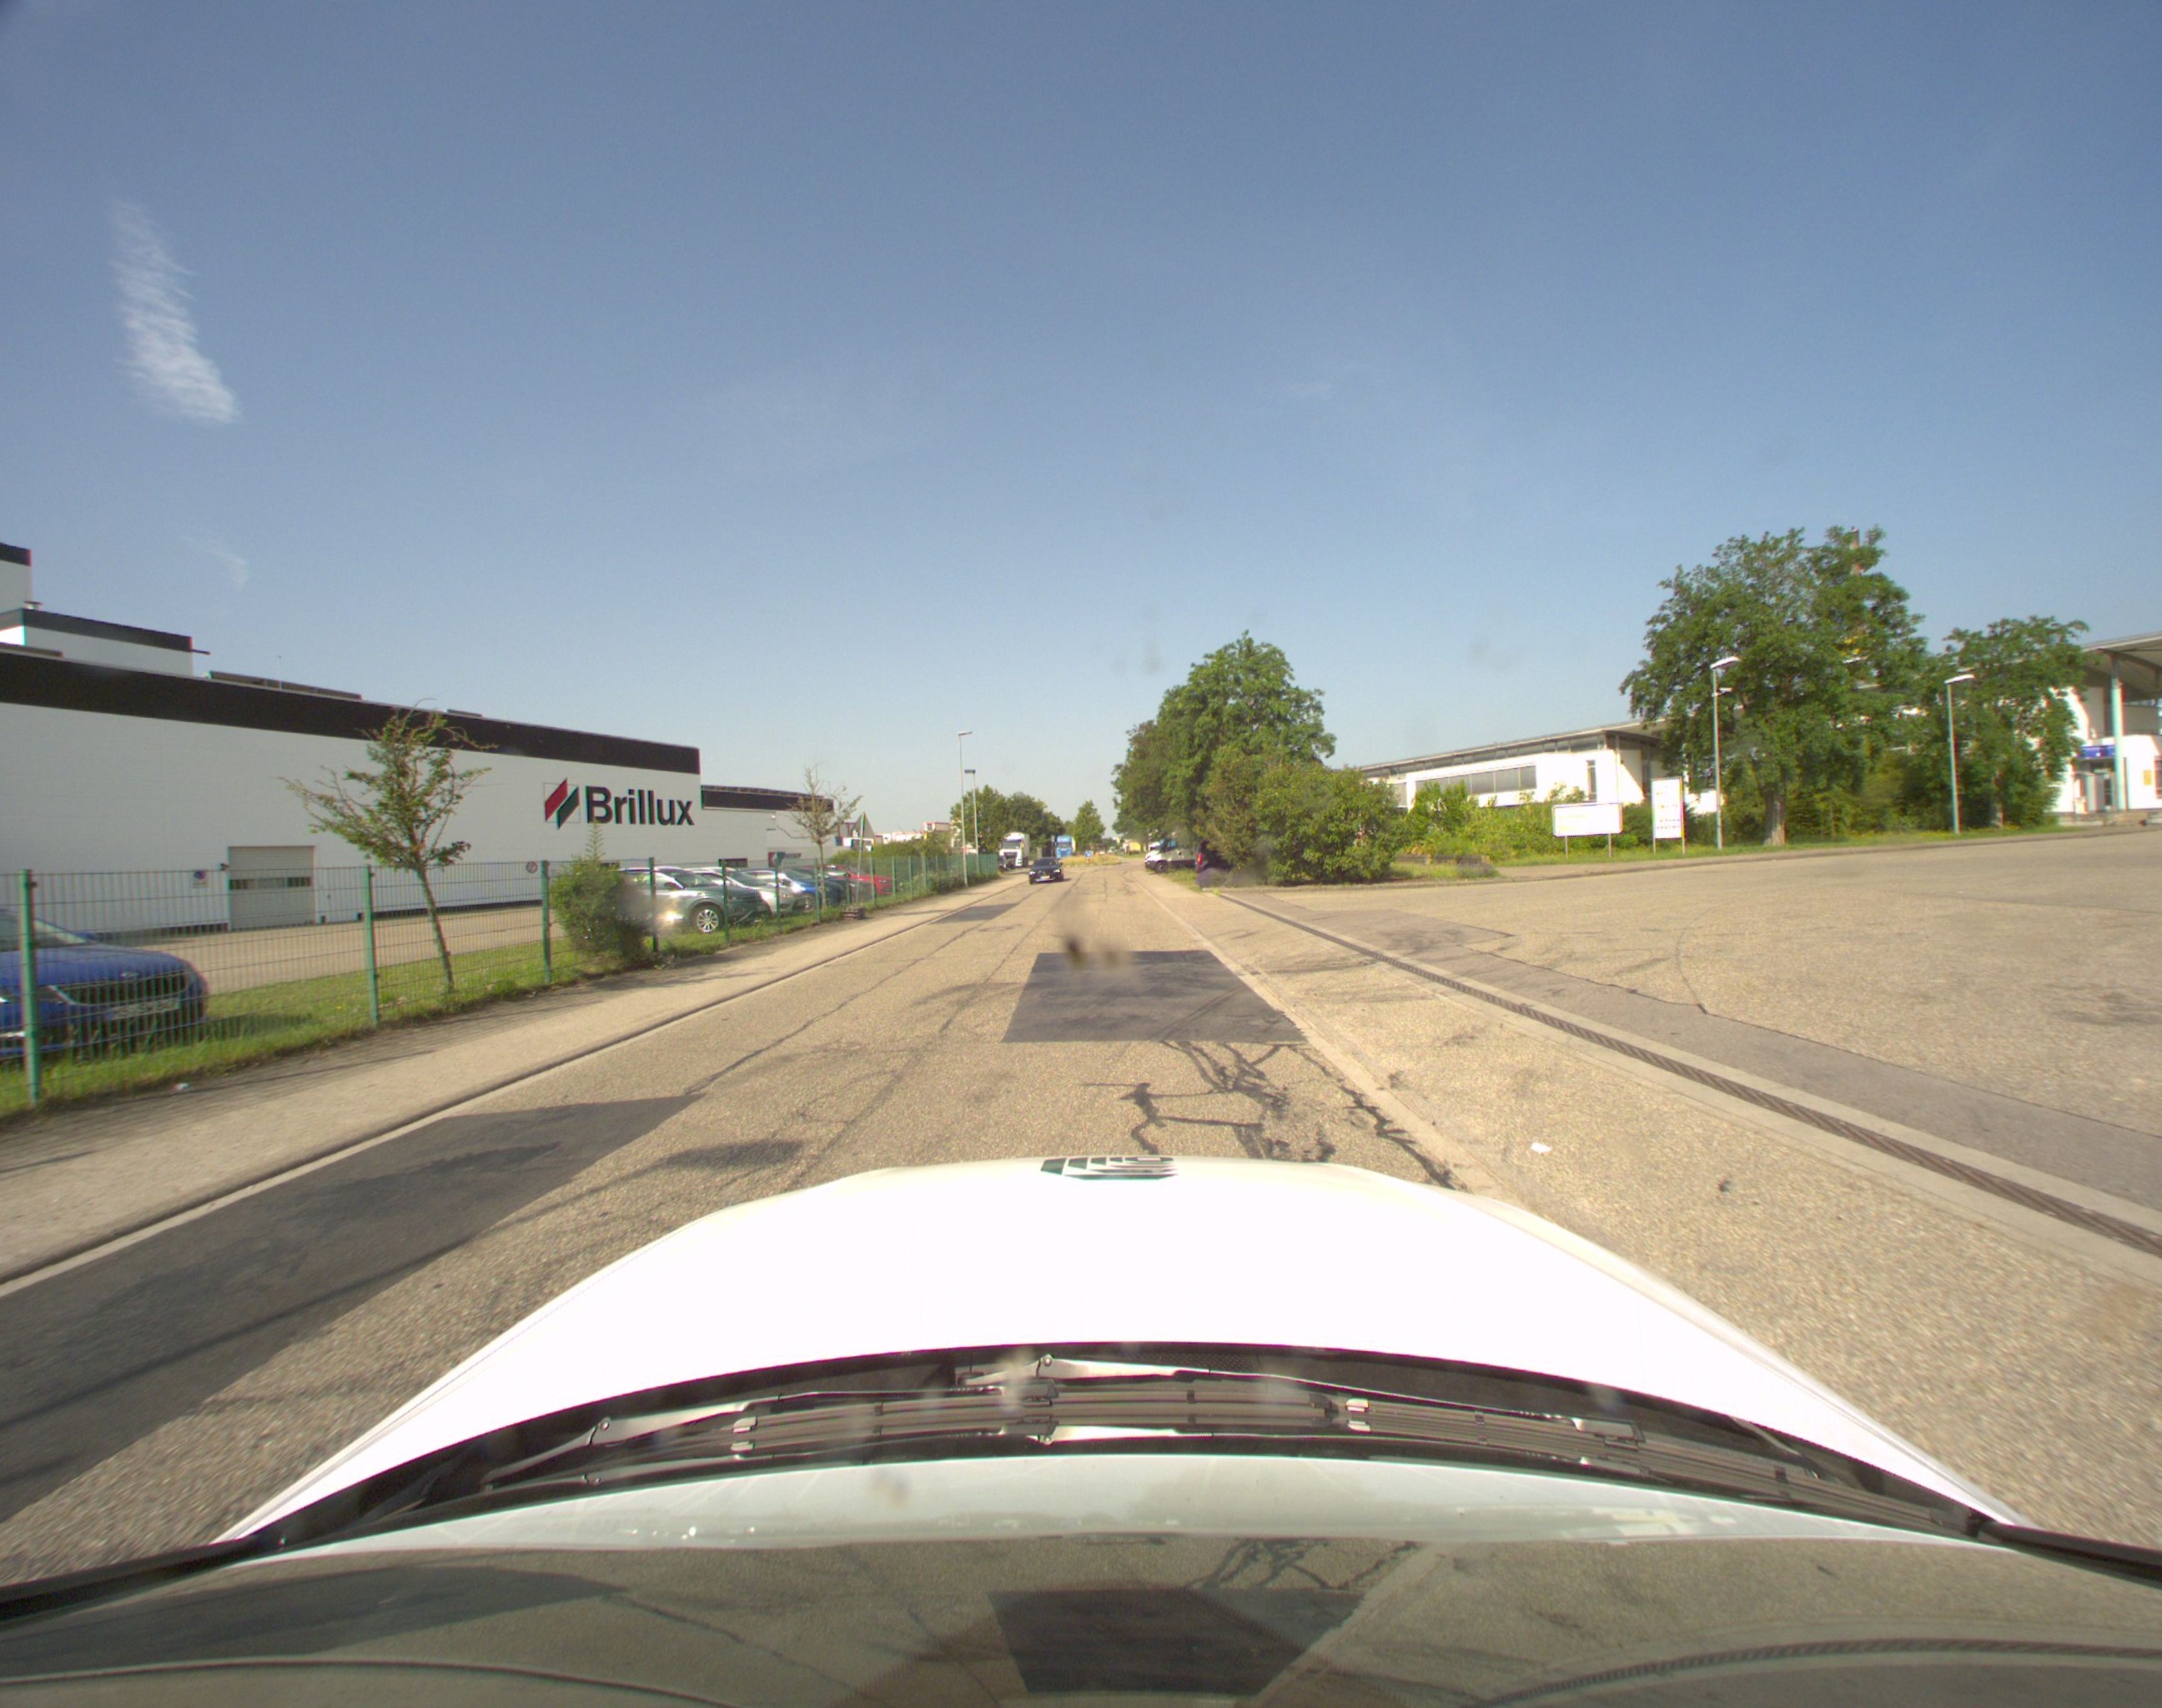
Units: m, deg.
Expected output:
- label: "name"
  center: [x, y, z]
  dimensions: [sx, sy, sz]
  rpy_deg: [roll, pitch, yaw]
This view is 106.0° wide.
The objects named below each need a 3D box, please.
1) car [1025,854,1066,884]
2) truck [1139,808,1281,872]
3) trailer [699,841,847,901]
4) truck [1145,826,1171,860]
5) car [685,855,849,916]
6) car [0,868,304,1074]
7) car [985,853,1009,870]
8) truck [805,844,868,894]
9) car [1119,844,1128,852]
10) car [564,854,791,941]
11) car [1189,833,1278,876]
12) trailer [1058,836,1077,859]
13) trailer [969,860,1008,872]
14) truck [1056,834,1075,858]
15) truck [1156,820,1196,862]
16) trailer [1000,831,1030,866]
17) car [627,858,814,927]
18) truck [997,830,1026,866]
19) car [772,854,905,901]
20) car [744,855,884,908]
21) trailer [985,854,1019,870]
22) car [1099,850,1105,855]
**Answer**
- label: "car"
  center: [-1.961, 0.805, 46.366]
  dimensions: [1.987, 1.449, 4.419]
  rpy_deg: [-5, 0, 0]
- label: "truck"
  center: [7.875, -0.842, 50.455]
  dimensions: [8.182, 3.370, 2.741]
  rpy_deg: [-3, -1, 0]
- label: "trailer"
  center: [-23.060, 1.247, 62.446]
  dimensions: [2.462, 4.041, 13.950]
  rpy_deg: [-1, -1, 17]
- label: "truck"
  center: [9.793, -1.394, 103.720]
  dimensions: [2.736, 3.981, 4.002]
  rpy_deg: [-5, 0, 1]
- label: "car"
  center: [-9.219, 0.905, 24.138]
  dimensions: [4.027, 1.444, 1.874]
  rpy_deg: [-4, 0, 0]
- label: "car"
  center: [-10.022, 1.037, 6.947]
  dimensions: [4.670, 1.444, 2.078]
  rpy_deg: [-4, 0, 0]
- label: "car"
  center: [-7.954, 0.722, 77.533]
  dimensions: [1.689, 1.561, 4.337]
  rpy_deg: [0, 0, 2]
- label: "truck"
  center: [-20.847, 1.279, 69.674]
  dimensions: [2.493, 4.071, 5.567]
  rpy_deg: [-1, -1, 16]
- label: "car"
  center: [9.129, -1.247, 175.298]
  dimensions: [1.786, 1.750, 4.000]
  rpy_deg: [-1, -1, 1]
- label: "car"
  center: [-9.051, 0.949, 18.525]
  dimensions: [4.113, 1.567, 1.865]
  rpy_deg: [-4, 0, 0]
- label: "car"
  center: [7.415, 0.023, 39.813]
  dimensions: [3.971, 1.837, 2.001]
  rpy_deg: [-3, 0, 2]
- label: "trailer"
  center: [-2.298, -1.091, 144.248]
  dimensions: [2.821, 3.843, 12.038]
  rpy_deg: [-1, -1, 1]
- label: "trailer"
  center: [-7.961, 1.027, 70.827]
  dimensions: [2.538, 0.925, 6.710]
  rpy_deg: [1, 0, 0]
- label: "truck"
  center: [-2.503, -1.251, 134.691]
  dimensions: [2.815, 3.826, 9.674]
  rpy_deg: [-1, -1, 1]
- label: "truck"
  center: [9.185, -1.139, 79.770]
  dimensions: [2.877, 3.535, 9.760]
  rpy_deg: [-6, -1, 2]
- label: "trailer"
  center: [-7.580, -0.543, 94.514]
  dimensions: [2.690, 3.922, 7.575]
  rpy_deg: [-1, -1, 1]
- label: "car"
  center: [-9.453, 0.976, 21.601]
  dimensions: [4.027, 1.444, 1.874]
  rpy_deg: [-4, 0, 0]
- label: "truck"
  center: [-7.640, -0.603, 90.247]
  dimensions: [2.699, 3.922, 4.297]
  rpy_deg: [-1, -1, 1]
- label: "car"
  center: [-9.424, 0.883, 31.907]
  dimensions: [4.521, 1.444, 1.952]
  rpy_deg: [-4, 0, 0]
- label: "car"
  center: [-9.026, 0.906, 27.757]
  dimensions: [4.027, 1.444, 1.874]
  rpy_deg: [-4, 0, 0]
- label: "trailer"
  center: [-8.065, 0.809, 83.731]
  dimensions: [2.670, 1.453, 5.081]
  rpy_deg: [-2, 0, 3]
- label: "car"
  center: [6.659, -0.470, 253.163]
  dimensions: [1.713, 1.661, 3.822]
  rpy_deg: [-1, -1, 0]
